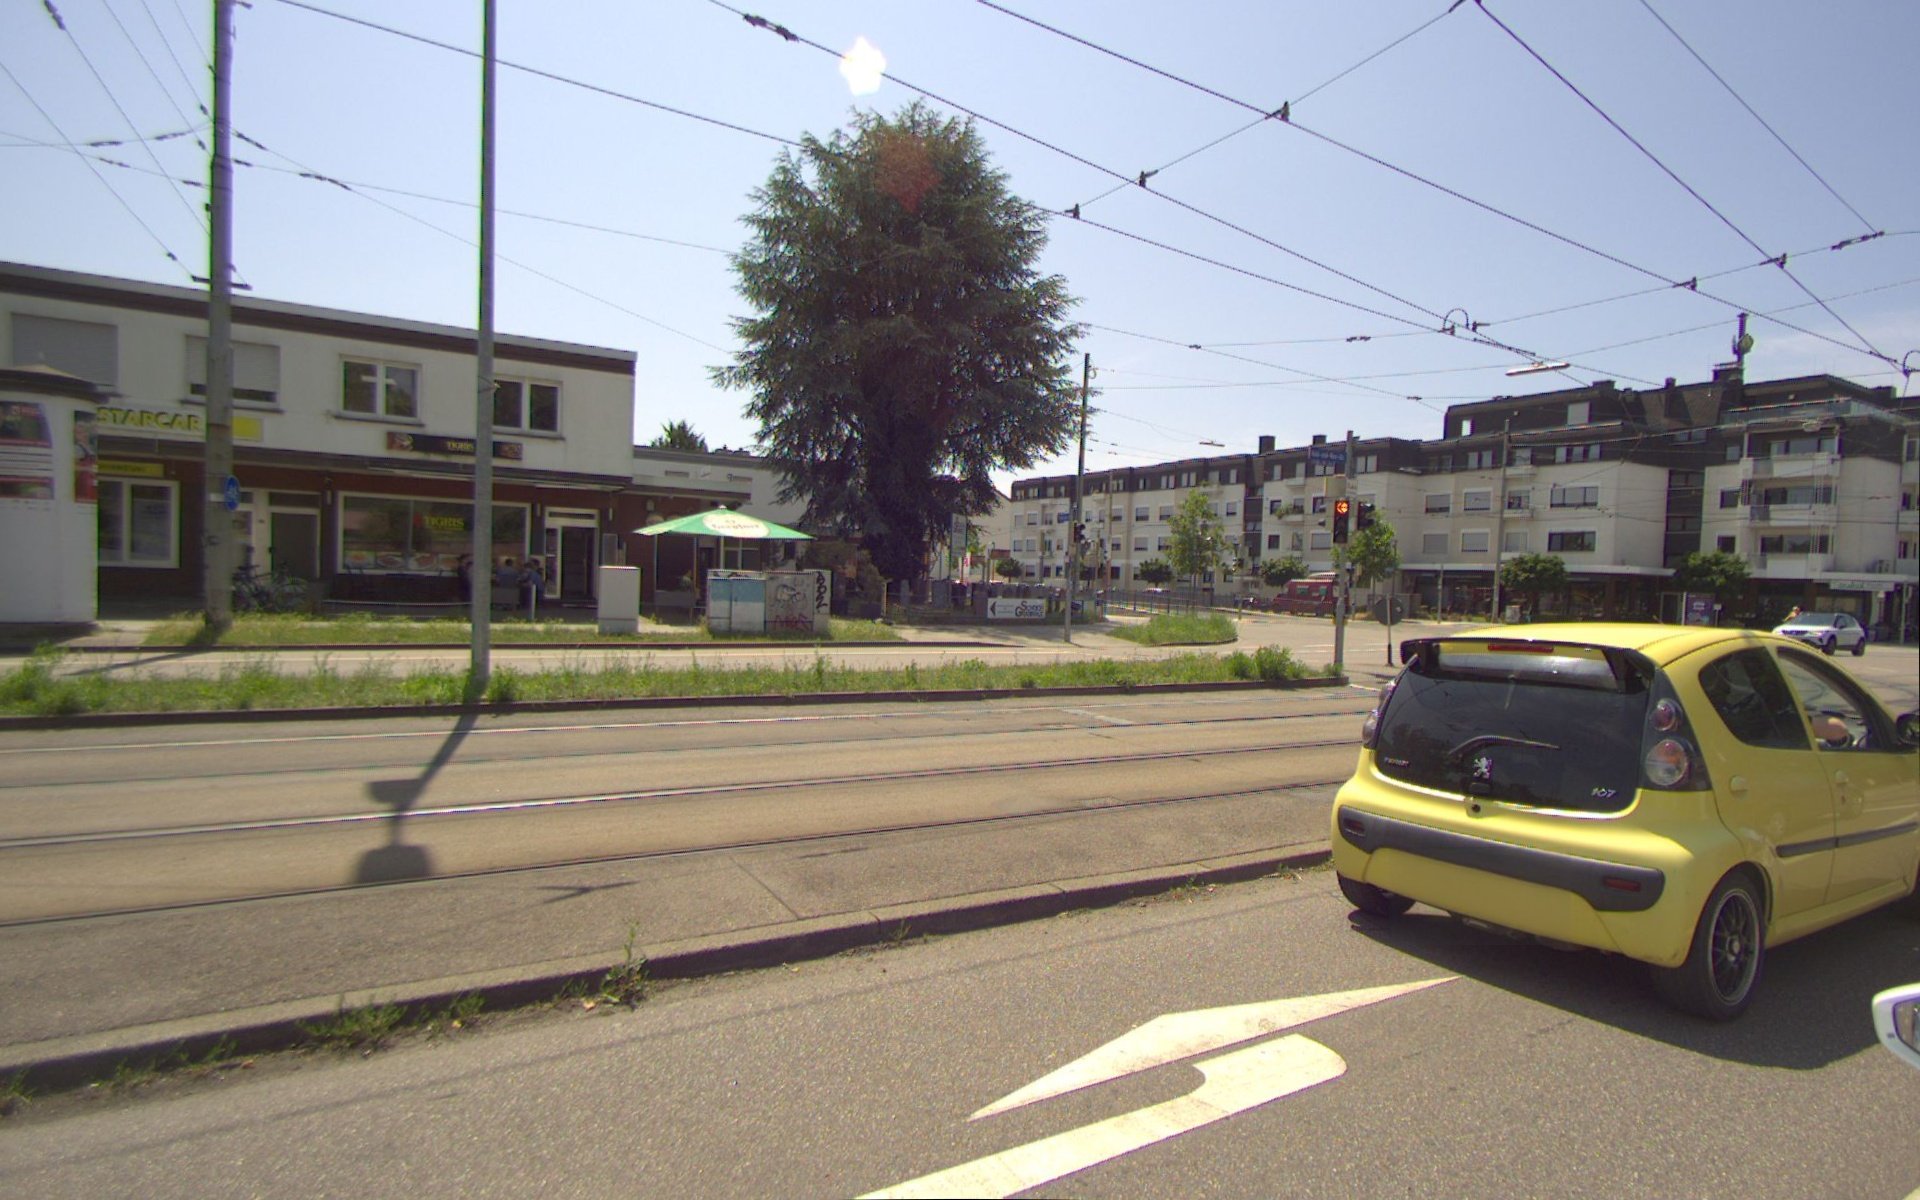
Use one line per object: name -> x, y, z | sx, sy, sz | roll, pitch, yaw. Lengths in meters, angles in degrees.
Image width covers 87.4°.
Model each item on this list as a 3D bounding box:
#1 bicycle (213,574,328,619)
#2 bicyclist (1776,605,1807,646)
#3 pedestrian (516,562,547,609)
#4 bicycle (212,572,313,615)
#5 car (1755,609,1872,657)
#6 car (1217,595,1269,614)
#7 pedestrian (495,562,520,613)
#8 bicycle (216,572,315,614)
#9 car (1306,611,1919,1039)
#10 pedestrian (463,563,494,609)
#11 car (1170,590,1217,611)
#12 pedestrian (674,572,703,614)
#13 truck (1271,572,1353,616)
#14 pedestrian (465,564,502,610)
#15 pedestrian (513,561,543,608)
bicycle -> -14.503, -0.066, 21.188 | 1.936, 0.859, 0.599 | 2, 4, -31
bicyclist -> 37.330, 1.129, 45.077 | 1.124, 1.789, 0.691 | 0, 2, -31
pedestrian -> -11.300, -0.380, 26.505 | 0.666, 1.215, 0.514 | 1, 1, -30
bicycle -> -15.340, -0.142, 22.141 | 1.767, 0.859, 0.525 | 2, 4, -31
car -> 31.250, 1.203, 36.754 | 4.091, 1.573, 1.984 | 1, 1, -30
car -> 20.532, 0.325, 72.979 | 1.571, 1.235, 3.553 | 1, 1, -29
pedestrian -> -11.549, -0.319, 25.629 | 0.486, 1.255, 0.572 | 1, 2, -31
bicycle -> -15.623, -0.153, 22.642 | 1.767, 0.859, 0.525 | 2, 4, -31
car -> 3.607, 0.821, 5.043 | 3.614, 1.440, 1.607 | 2, -1, -31
pedestrian -> -12.736, -0.378, 26.560 | 0.666, 1.179, 0.514 | 1, 1, -30
car -> 17.925, 0.021, 77.274 | 1.571, 1.452, 3.553 | 1, 1, -29
pedestrian -> -7.668, -0.200, 28.374 | 0.666, 1.142, 0.514 | 1, 1, -30
truck -> 23.757, -0.440, 67.948 | 2.161, 2.734, 5.003 | 1, 1, -29
pedestrian -> -12.303, -0.332, 25.942 | 0.801, 1.142, 0.561 | 1, 1, -30
pedestrian -> -11.657, -0.420, 27.094 | 0.666, 1.225, 0.514 | 1, 1, -30
